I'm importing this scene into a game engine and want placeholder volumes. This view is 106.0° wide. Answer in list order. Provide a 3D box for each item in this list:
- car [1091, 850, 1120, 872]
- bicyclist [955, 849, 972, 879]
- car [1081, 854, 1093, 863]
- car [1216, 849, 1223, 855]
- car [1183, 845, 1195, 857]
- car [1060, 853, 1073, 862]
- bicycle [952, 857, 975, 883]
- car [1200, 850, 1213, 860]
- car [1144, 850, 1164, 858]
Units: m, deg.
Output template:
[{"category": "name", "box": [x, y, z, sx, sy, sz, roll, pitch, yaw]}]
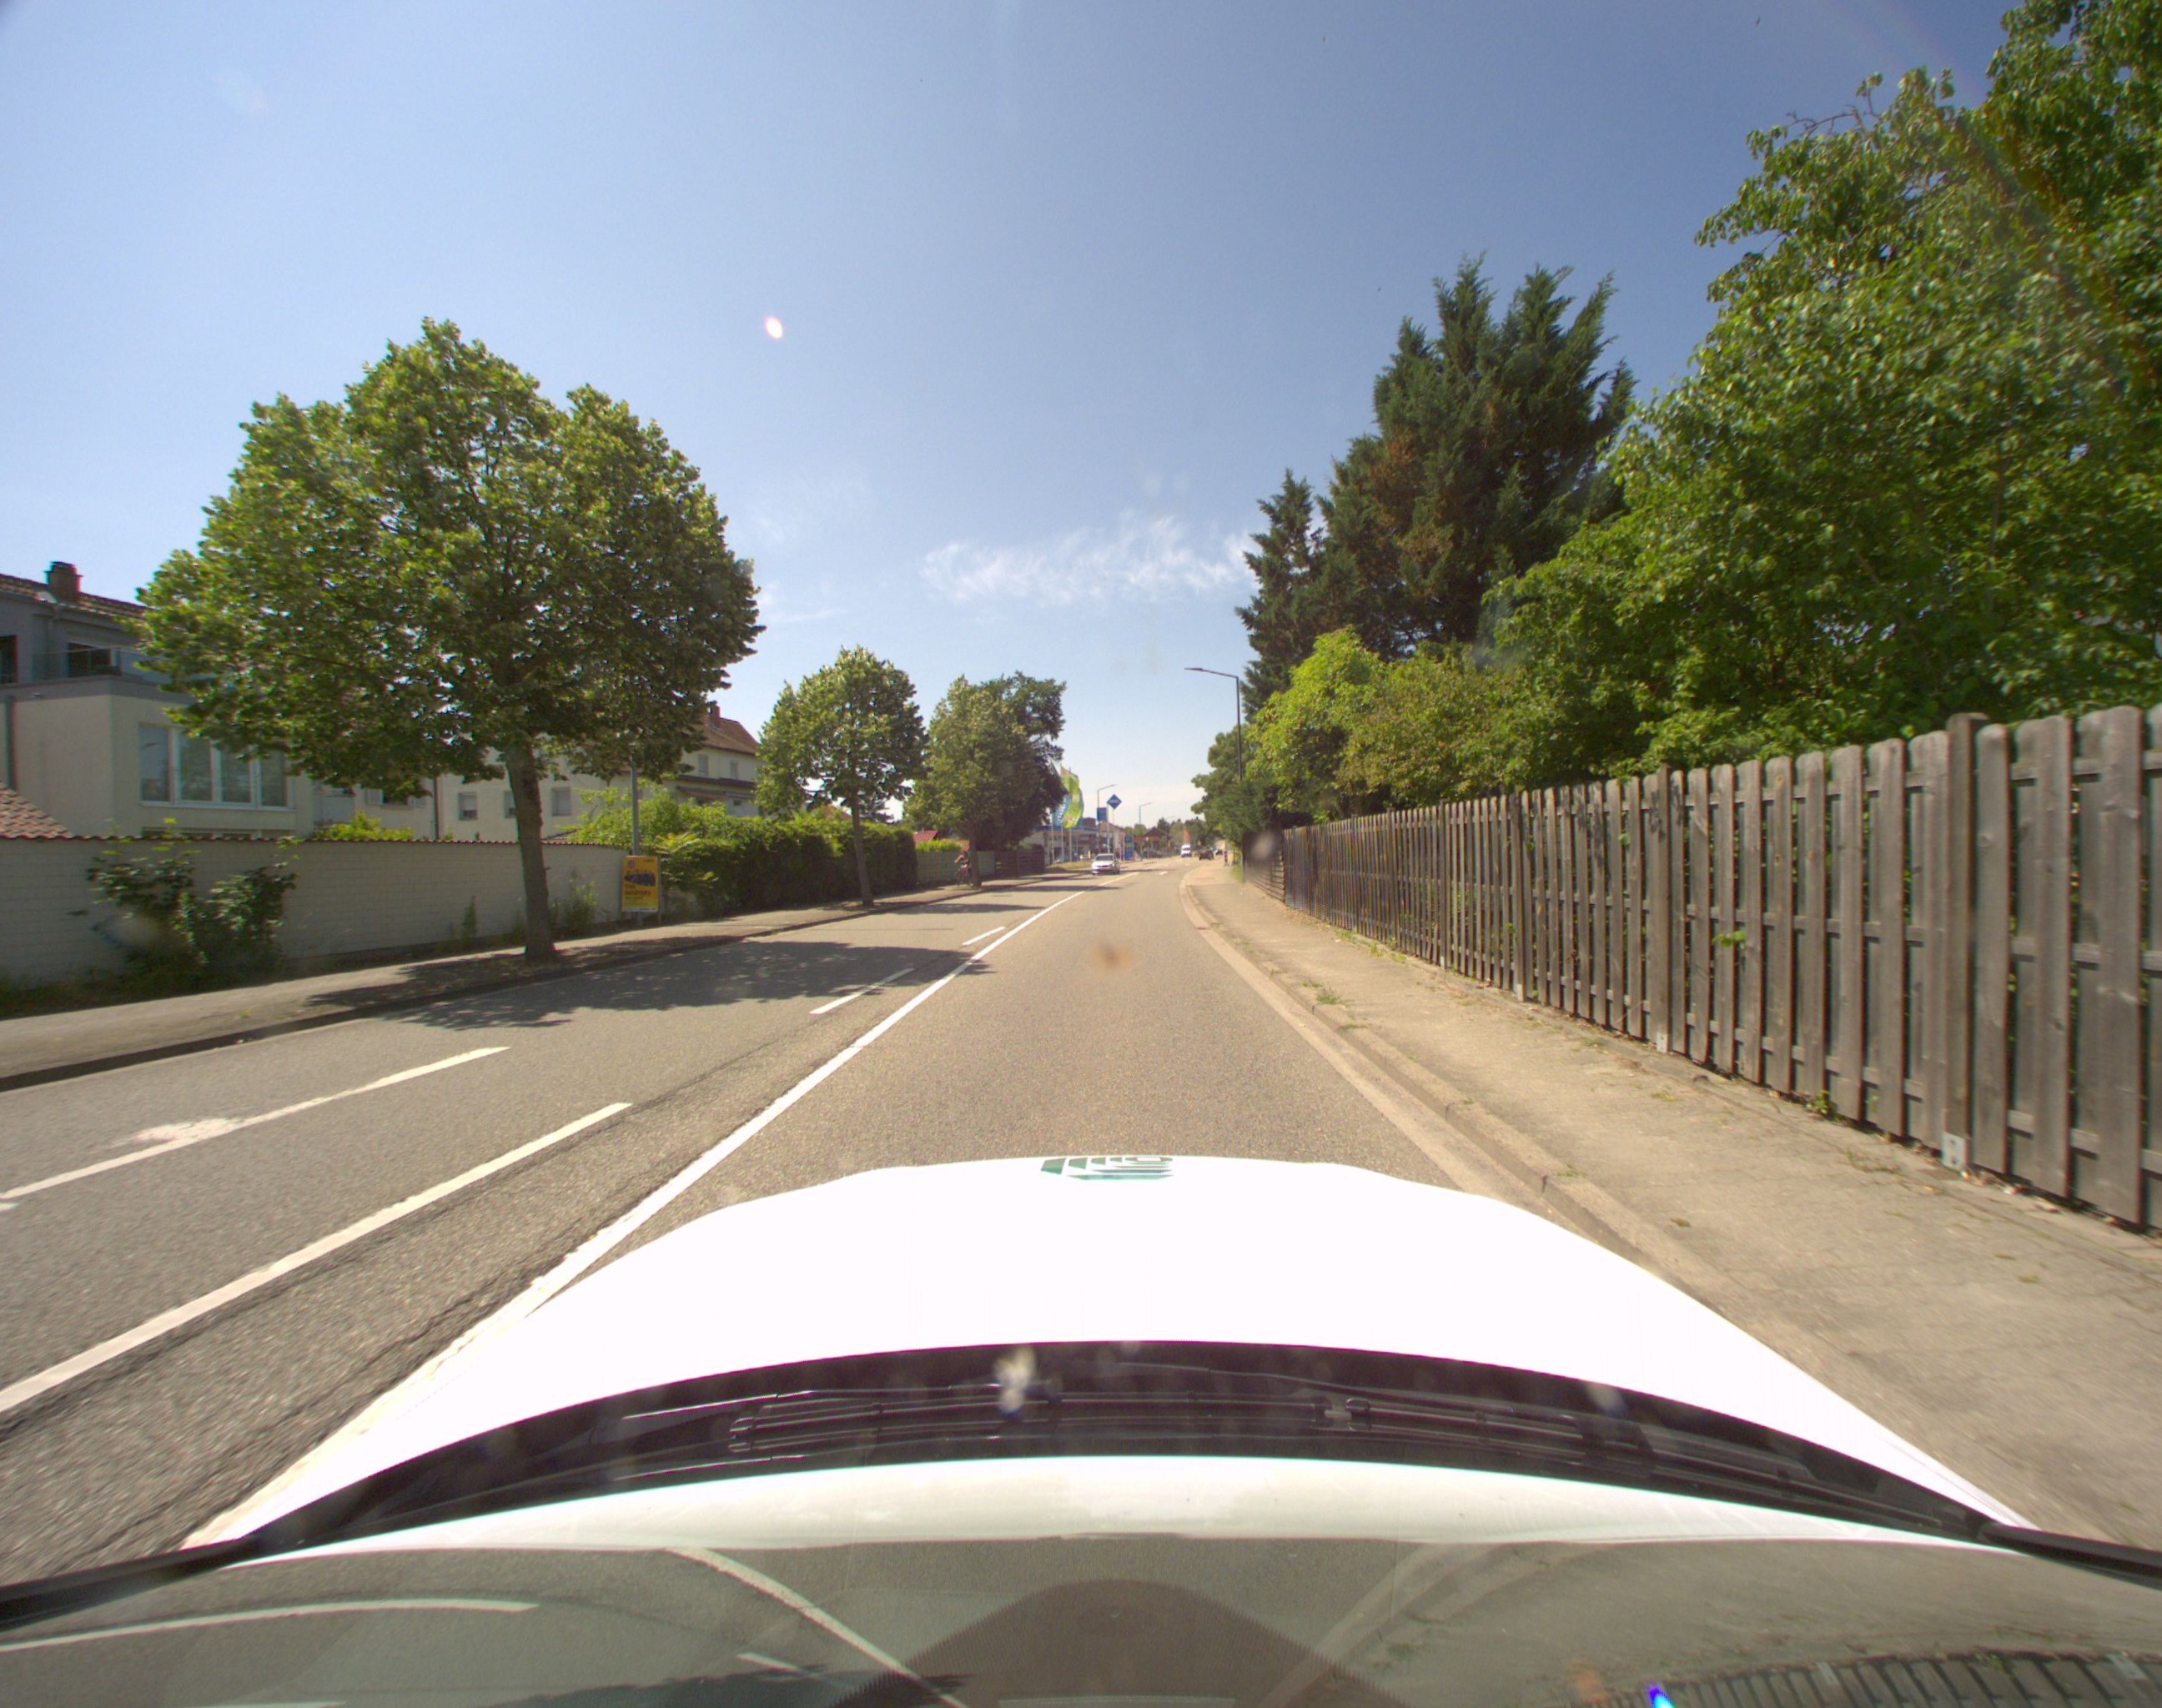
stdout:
[{"category": "car", "box": [1.736, 0.473, 57.069, 1.603, 1.482, 3.715, -1, 0, 7]}, {"category": "bicyclist", "box": [-5.603, 0.473, 38.927, 0.625, 1.408, 0.678, -2, 0, 6]}, {"category": "car", "box": [1.011, 0.711, 140.911, 1.608, 1.420, 3.718, -3, 0, 7]}, {"category": "car", "box": [33.675, -0.563, 197.811, 1.655, 1.455, 3.482, -1, 0, 11]}, {"category": "car", "box": [22.856, -0.578, 172.848, 1.980, 2.423, 5.968, 0, -1, 13]}, {"category": "car", "box": [-2.489, 0.552, 140.893, 1.608, 1.420, 3.718, -3, 0, 7]}, {"category": "bicycle", "box": [-5.599, 0.761, 38.886, 0.629, 1.180, 1.819, -2, 0, 7]}, {"category": "car", "box": [18.276, 0.152, 118.277, 1.655, 1.455, 3.482, -1, 0, 11]}, {"category": "car", "box": [15.197, 0.042, 169.569, 3.965, 1.508, 1.558, -1, 0, 7]}]
